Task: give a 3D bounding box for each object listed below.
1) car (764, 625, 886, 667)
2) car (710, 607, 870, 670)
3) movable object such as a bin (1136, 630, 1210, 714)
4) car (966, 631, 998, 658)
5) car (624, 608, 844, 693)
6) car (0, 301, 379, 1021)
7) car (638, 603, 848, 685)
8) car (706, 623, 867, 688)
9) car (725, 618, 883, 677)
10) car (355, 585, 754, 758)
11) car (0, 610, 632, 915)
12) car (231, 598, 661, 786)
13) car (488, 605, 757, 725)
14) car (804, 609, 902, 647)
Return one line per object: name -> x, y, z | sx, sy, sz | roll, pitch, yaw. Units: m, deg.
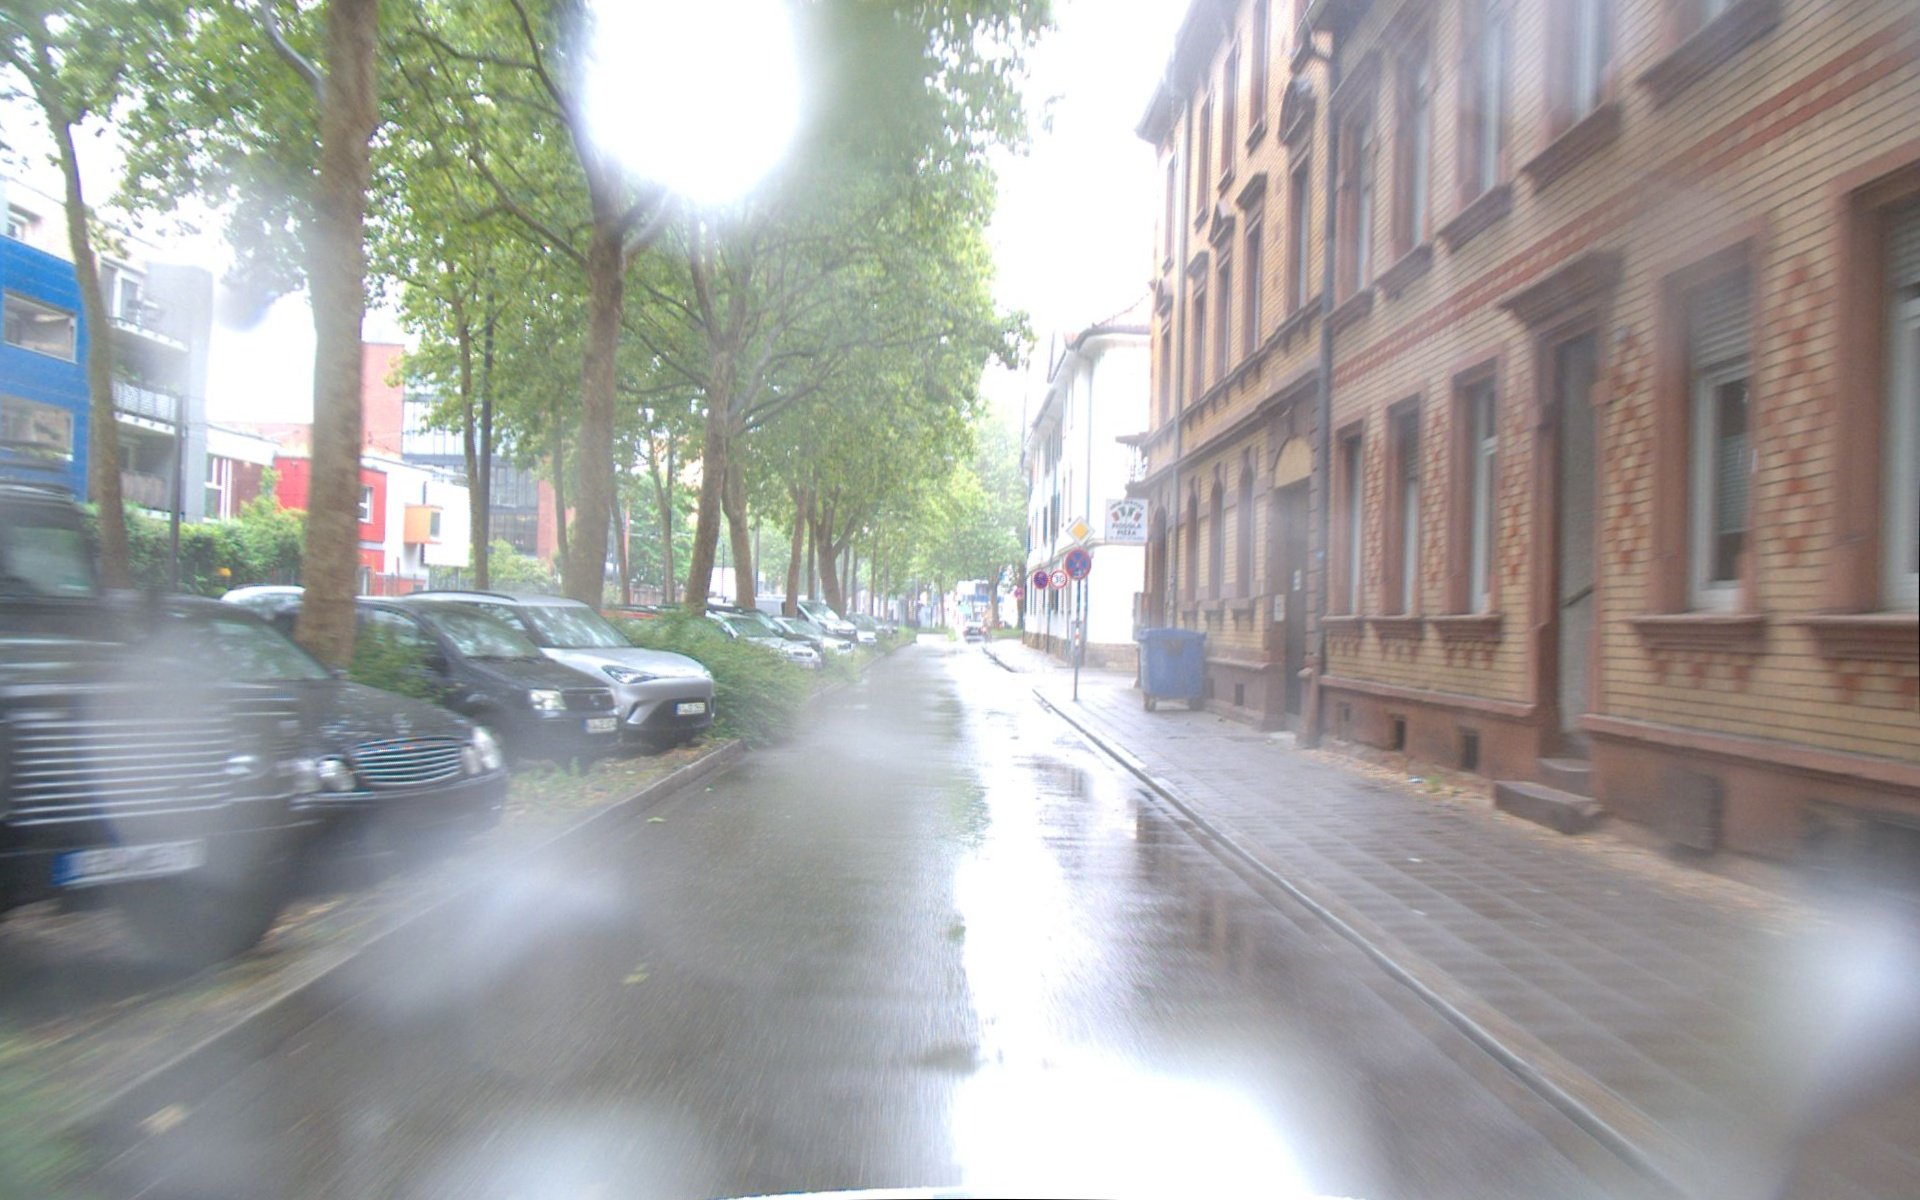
car -> -5.208, 1.763, 63.589 | 4.461, 1.508, 1.771 | 0, -2, 30
car -> -5.698, 1.289, 55.266 | 5.020, 2.012, 2.098 | 0, -2, 30
movable object such as a bin -> 3.505, 1.180, 27.375 | 1.000, 1.324, 1.366 | -1, -1, -1
car -> 1.445, 3.042, 111.850 | 1.953, 1.669, 3.998 | 3, -2, -1
car -> -4.726, 1.056, 34.452 | 4.322, 1.674, 1.868 | -1, -3, 31
car -> -4.787, 0.190, 6.940 | 4.562, 2.323, 2.006 | 1, -2, 33
car -> -4.887, 0.971, 37.121 | 4.318, 1.689, 1.927 | 1, -2, 27
car -> -4.725, 1.501, 45.105 | 3.974, 1.525, 1.747 | 2, -1, 23
car -> -4.529, 1.360, 47.978 | 4.218, 1.462, 1.745 | 2, -1, 26
car -> -4.409, 0.723, 17.888 | 3.977, 1.564, 1.831 | 2, -1, 30
car -> -4.288, 0.767, 9.439 | 4.555, 1.349, 1.845 | 1, -2, 27
car -> -4.675, 0.791, 15.122 | 3.428, 1.493, 1.642 | 1, -2, 21
car -> -4.972, 0.931, 24.307 | 3.574, 1.505, 1.740 | 2, -1, 30
car -> -5.244, 1.366, 80.785 | 4.371, 1.625, 1.921 | 2, -1, 26
